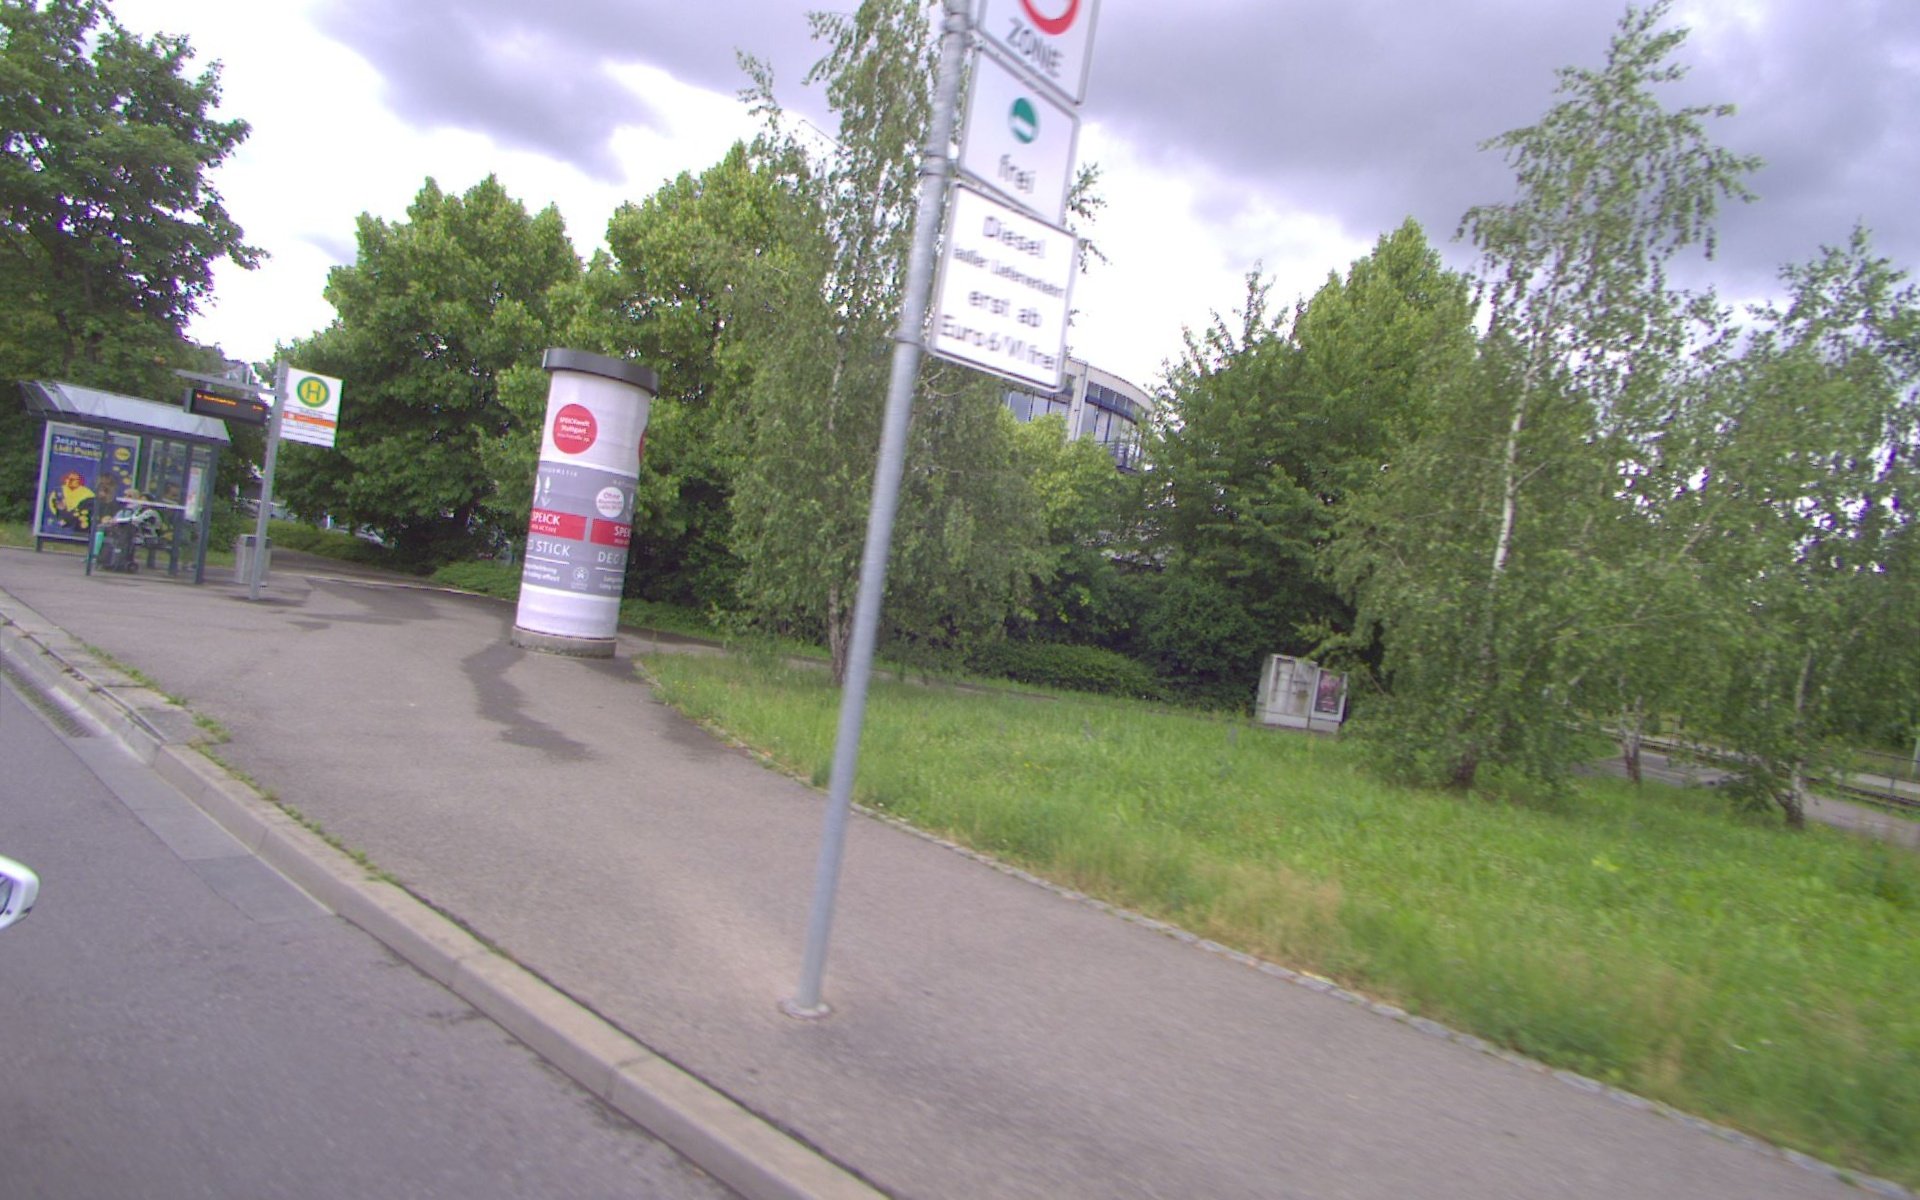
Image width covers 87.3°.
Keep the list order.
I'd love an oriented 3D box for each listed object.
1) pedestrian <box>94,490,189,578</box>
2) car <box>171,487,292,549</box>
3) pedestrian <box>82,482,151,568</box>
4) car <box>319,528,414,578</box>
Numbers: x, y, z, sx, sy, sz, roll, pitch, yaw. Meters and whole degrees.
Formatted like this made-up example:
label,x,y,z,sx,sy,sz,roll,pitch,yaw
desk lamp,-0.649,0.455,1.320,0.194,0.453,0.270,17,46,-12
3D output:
label,x,y,z,sx,sy,sz,roll,pitch,yaw
pedestrian,-13.228,-1.051,16.278,0.758,1.268,0.776,8,0,-1
car,-30.834,-3.426,42.755,1.963,2.050,4.000,7,0,2
pedestrian,-14.382,-1.276,17.155,0.581,1.332,0.727,8,0,42
car,-35.095,-2.764,59.532,4.343,2.355,2.001,7,0,8
